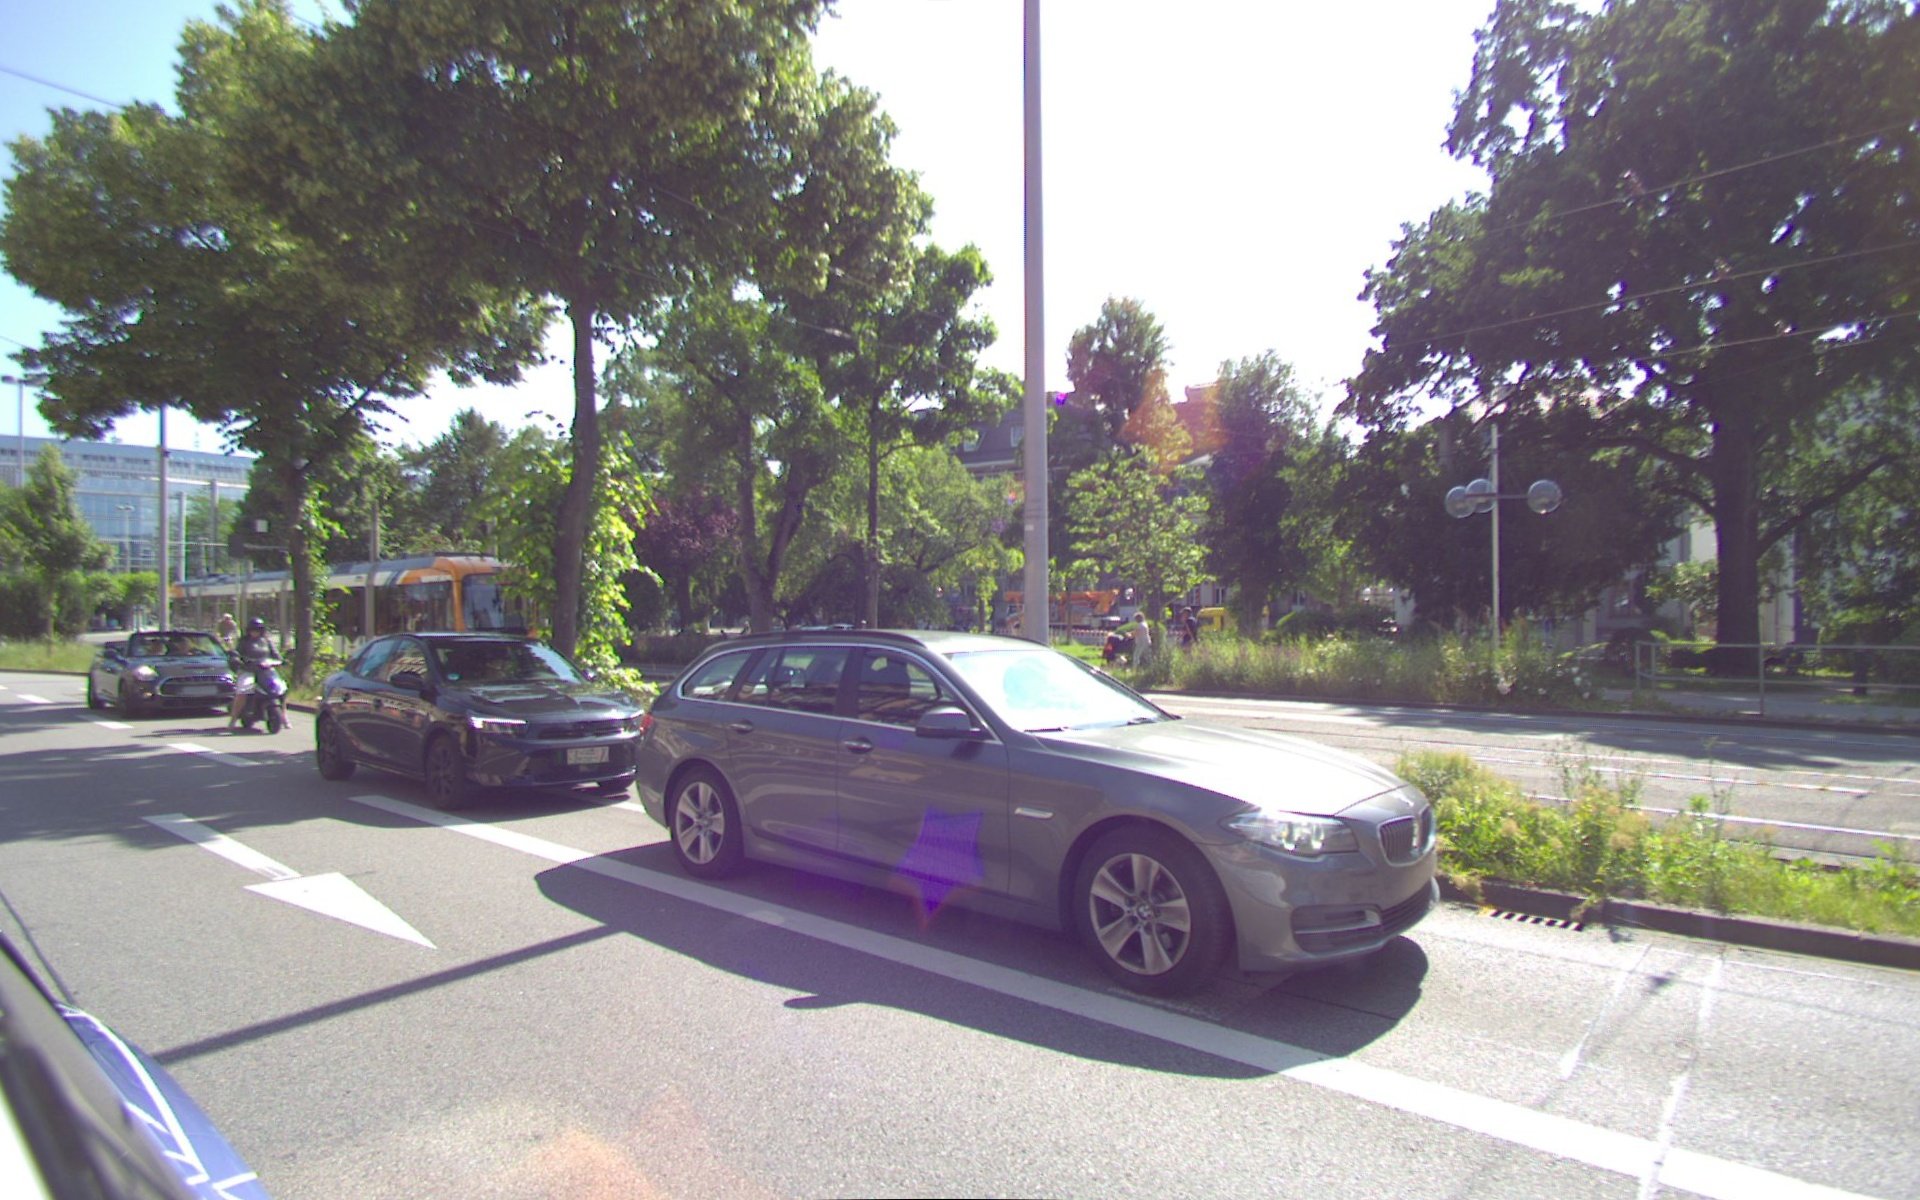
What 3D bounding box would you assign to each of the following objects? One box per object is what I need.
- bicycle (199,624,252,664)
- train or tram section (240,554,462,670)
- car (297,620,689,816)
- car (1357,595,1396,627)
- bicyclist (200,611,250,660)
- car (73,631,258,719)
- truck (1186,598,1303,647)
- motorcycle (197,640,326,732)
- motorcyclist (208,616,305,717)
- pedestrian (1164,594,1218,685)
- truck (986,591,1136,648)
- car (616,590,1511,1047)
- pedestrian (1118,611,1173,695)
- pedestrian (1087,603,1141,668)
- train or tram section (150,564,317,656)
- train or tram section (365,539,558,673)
[{"bbox_3d":[-21.719,1.291,29.905,2.494,1.091,0.635,0,0,39],"label":"bicycle"},{"bbox_3d":[-21.298,0.462,34.837,12.402,3.429,2.731,-1,-2,40],"label":"train or tram section"},{"bbox_3d":[-4.442,0.906,9.386,3.997,1.422,1.774,-1,-2,40],"label":"car"},{"bbox_3d":[27.325,0.729,66.520,1.984,2.029,4.529,-1,-1,18],"label":"car"},{"bbox_3d":[-21.761,1.030,29.947,1.231,1.404,0.901,-1,-2,39],"label":"bicyclist"},{"bbox_3d":[-13.645,1.224,17.316,3.910,1.318,1.617,-1,-4,39],"label":"car"},{"bbox_3d":[19.981,1.580,71.313,7.636,3.240,2.437,-1,-2,35],"label":"truck"},{"bbox_3d":[-9.979,1.177,14.424,2.350,1.172,0.891,-1,-2,39],"label":"motorcycle"},{"bbox_3d":[-10.032,0.921,14.435,0.992,1.369,0.891,-1,-2,39],"label":"motorcyclist"},{"bbox_3d":[5.674,0.962,24.828,1.110,2.167,0.803,1,-2,-44],"label":"pedestrian"},{"bbox_3d":[8.038,1.566,81.591,11.780,4.295,3.591,-1,-1,34],"label":"truck"},{"bbox_3d":[0.182,0.772,5.549,4.744,1.497,1.730,-1,-2,41],"label":"car"},{"bbox_3d":[4.625,1.303,25.215,1.207,2.029,0.803,1,-2,-44],"label":"pedestrian"},{"bbox_3d":[3.943,0.895,25.850,1.024,1.632,0.935,1,-2,-44],"label":"pedestrian"},{"bbox_3d":[-30.954,0.467,42.797,12.401,3.429,2.732,-1,-2,40],"label":"train or tram section"},{"bbox_3d":[-14.296,0.219,28.865,5.880,3.429,2.733,-1,-2,39],"label":"train or tram section"}]
